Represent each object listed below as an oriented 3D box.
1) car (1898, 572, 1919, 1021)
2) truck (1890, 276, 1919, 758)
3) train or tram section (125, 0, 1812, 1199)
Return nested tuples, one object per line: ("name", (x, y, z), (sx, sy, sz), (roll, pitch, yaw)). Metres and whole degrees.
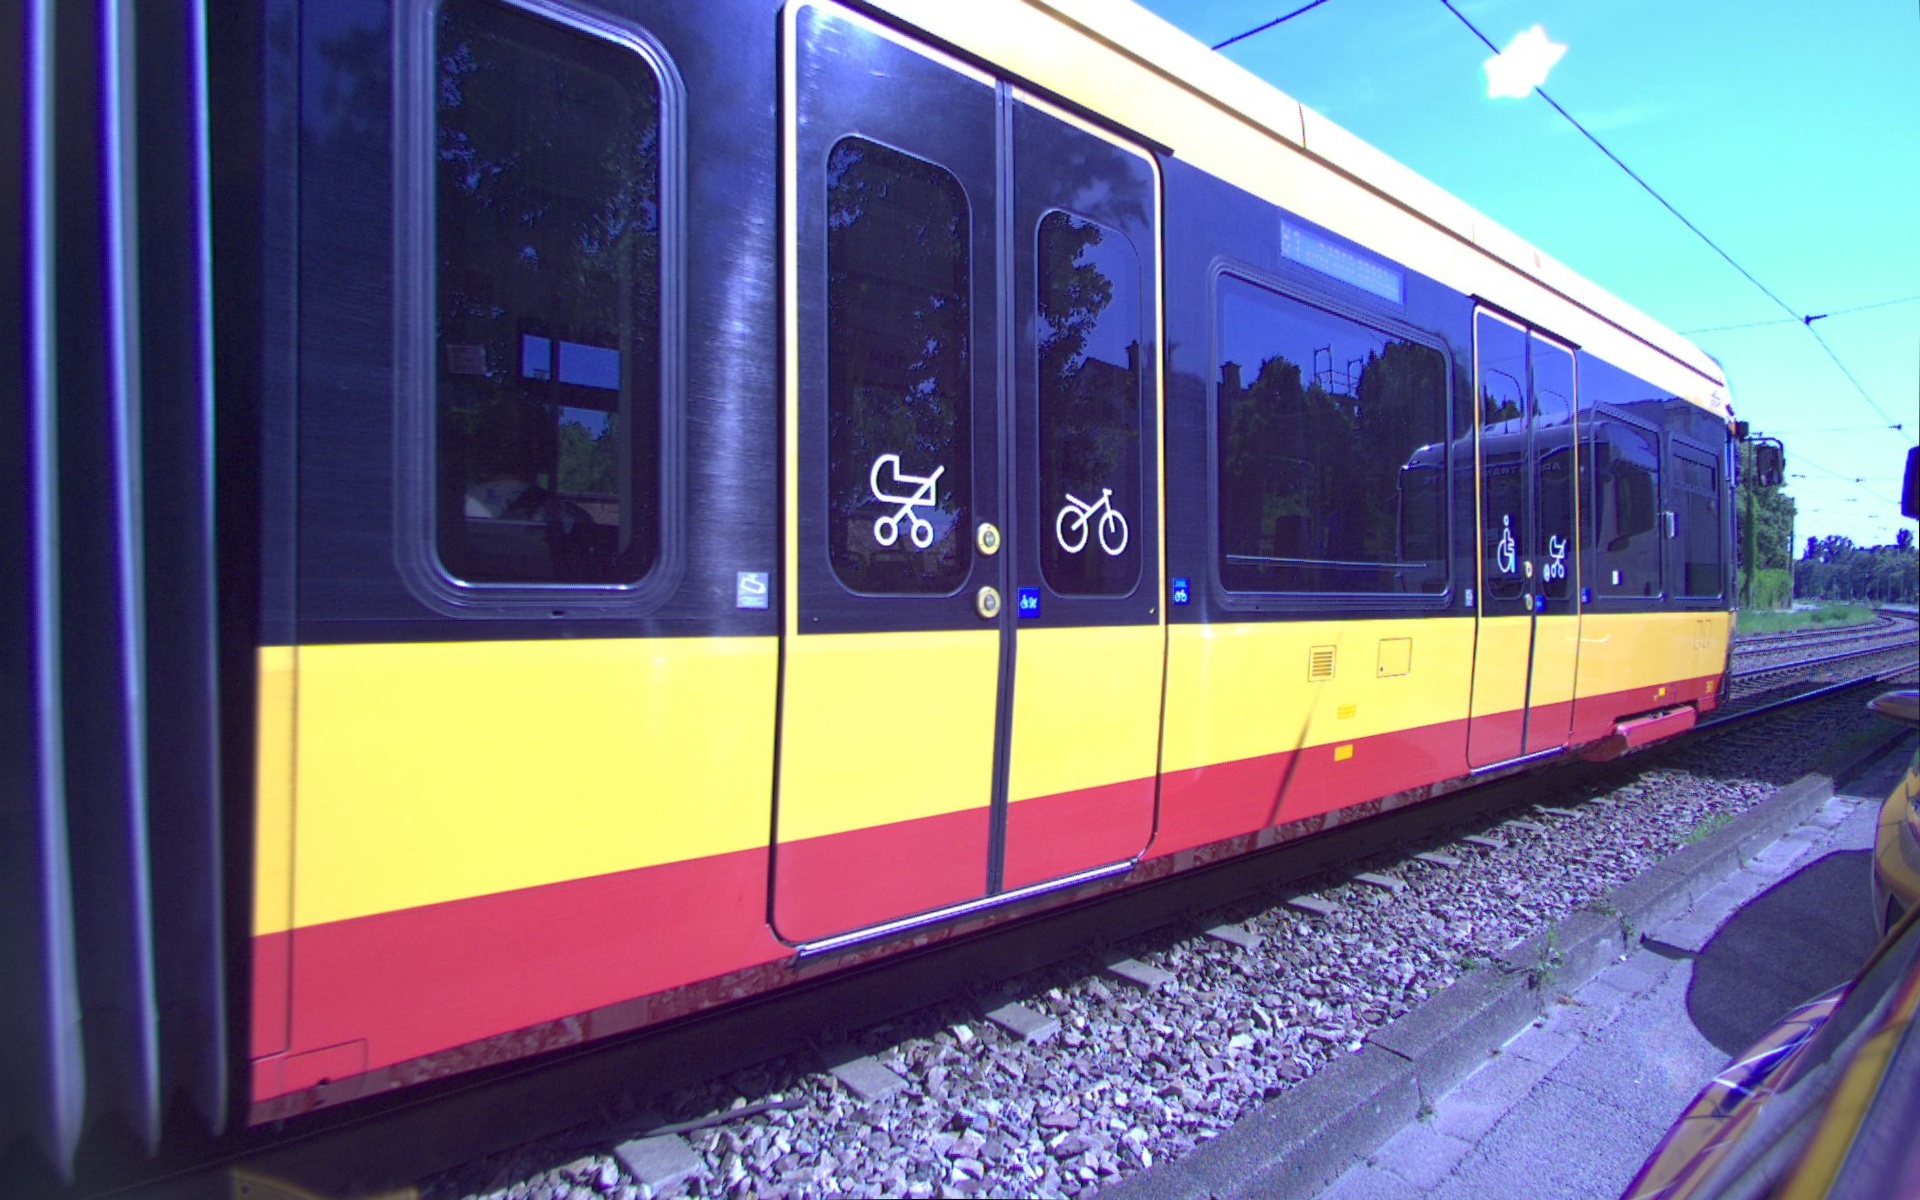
("car", (5.073, 0.665, 3.979), (3.930, 1.448, 1.573), (0, 2, -41))
("truck", (14.225, -0.630, 12.023), (14.651, 3.927, 2.934), (0, 2, -41))
("train or tram section", (2.439, -0.648, 6.645), (12.174, 3.903, 2.876), (0, 2, -41))
